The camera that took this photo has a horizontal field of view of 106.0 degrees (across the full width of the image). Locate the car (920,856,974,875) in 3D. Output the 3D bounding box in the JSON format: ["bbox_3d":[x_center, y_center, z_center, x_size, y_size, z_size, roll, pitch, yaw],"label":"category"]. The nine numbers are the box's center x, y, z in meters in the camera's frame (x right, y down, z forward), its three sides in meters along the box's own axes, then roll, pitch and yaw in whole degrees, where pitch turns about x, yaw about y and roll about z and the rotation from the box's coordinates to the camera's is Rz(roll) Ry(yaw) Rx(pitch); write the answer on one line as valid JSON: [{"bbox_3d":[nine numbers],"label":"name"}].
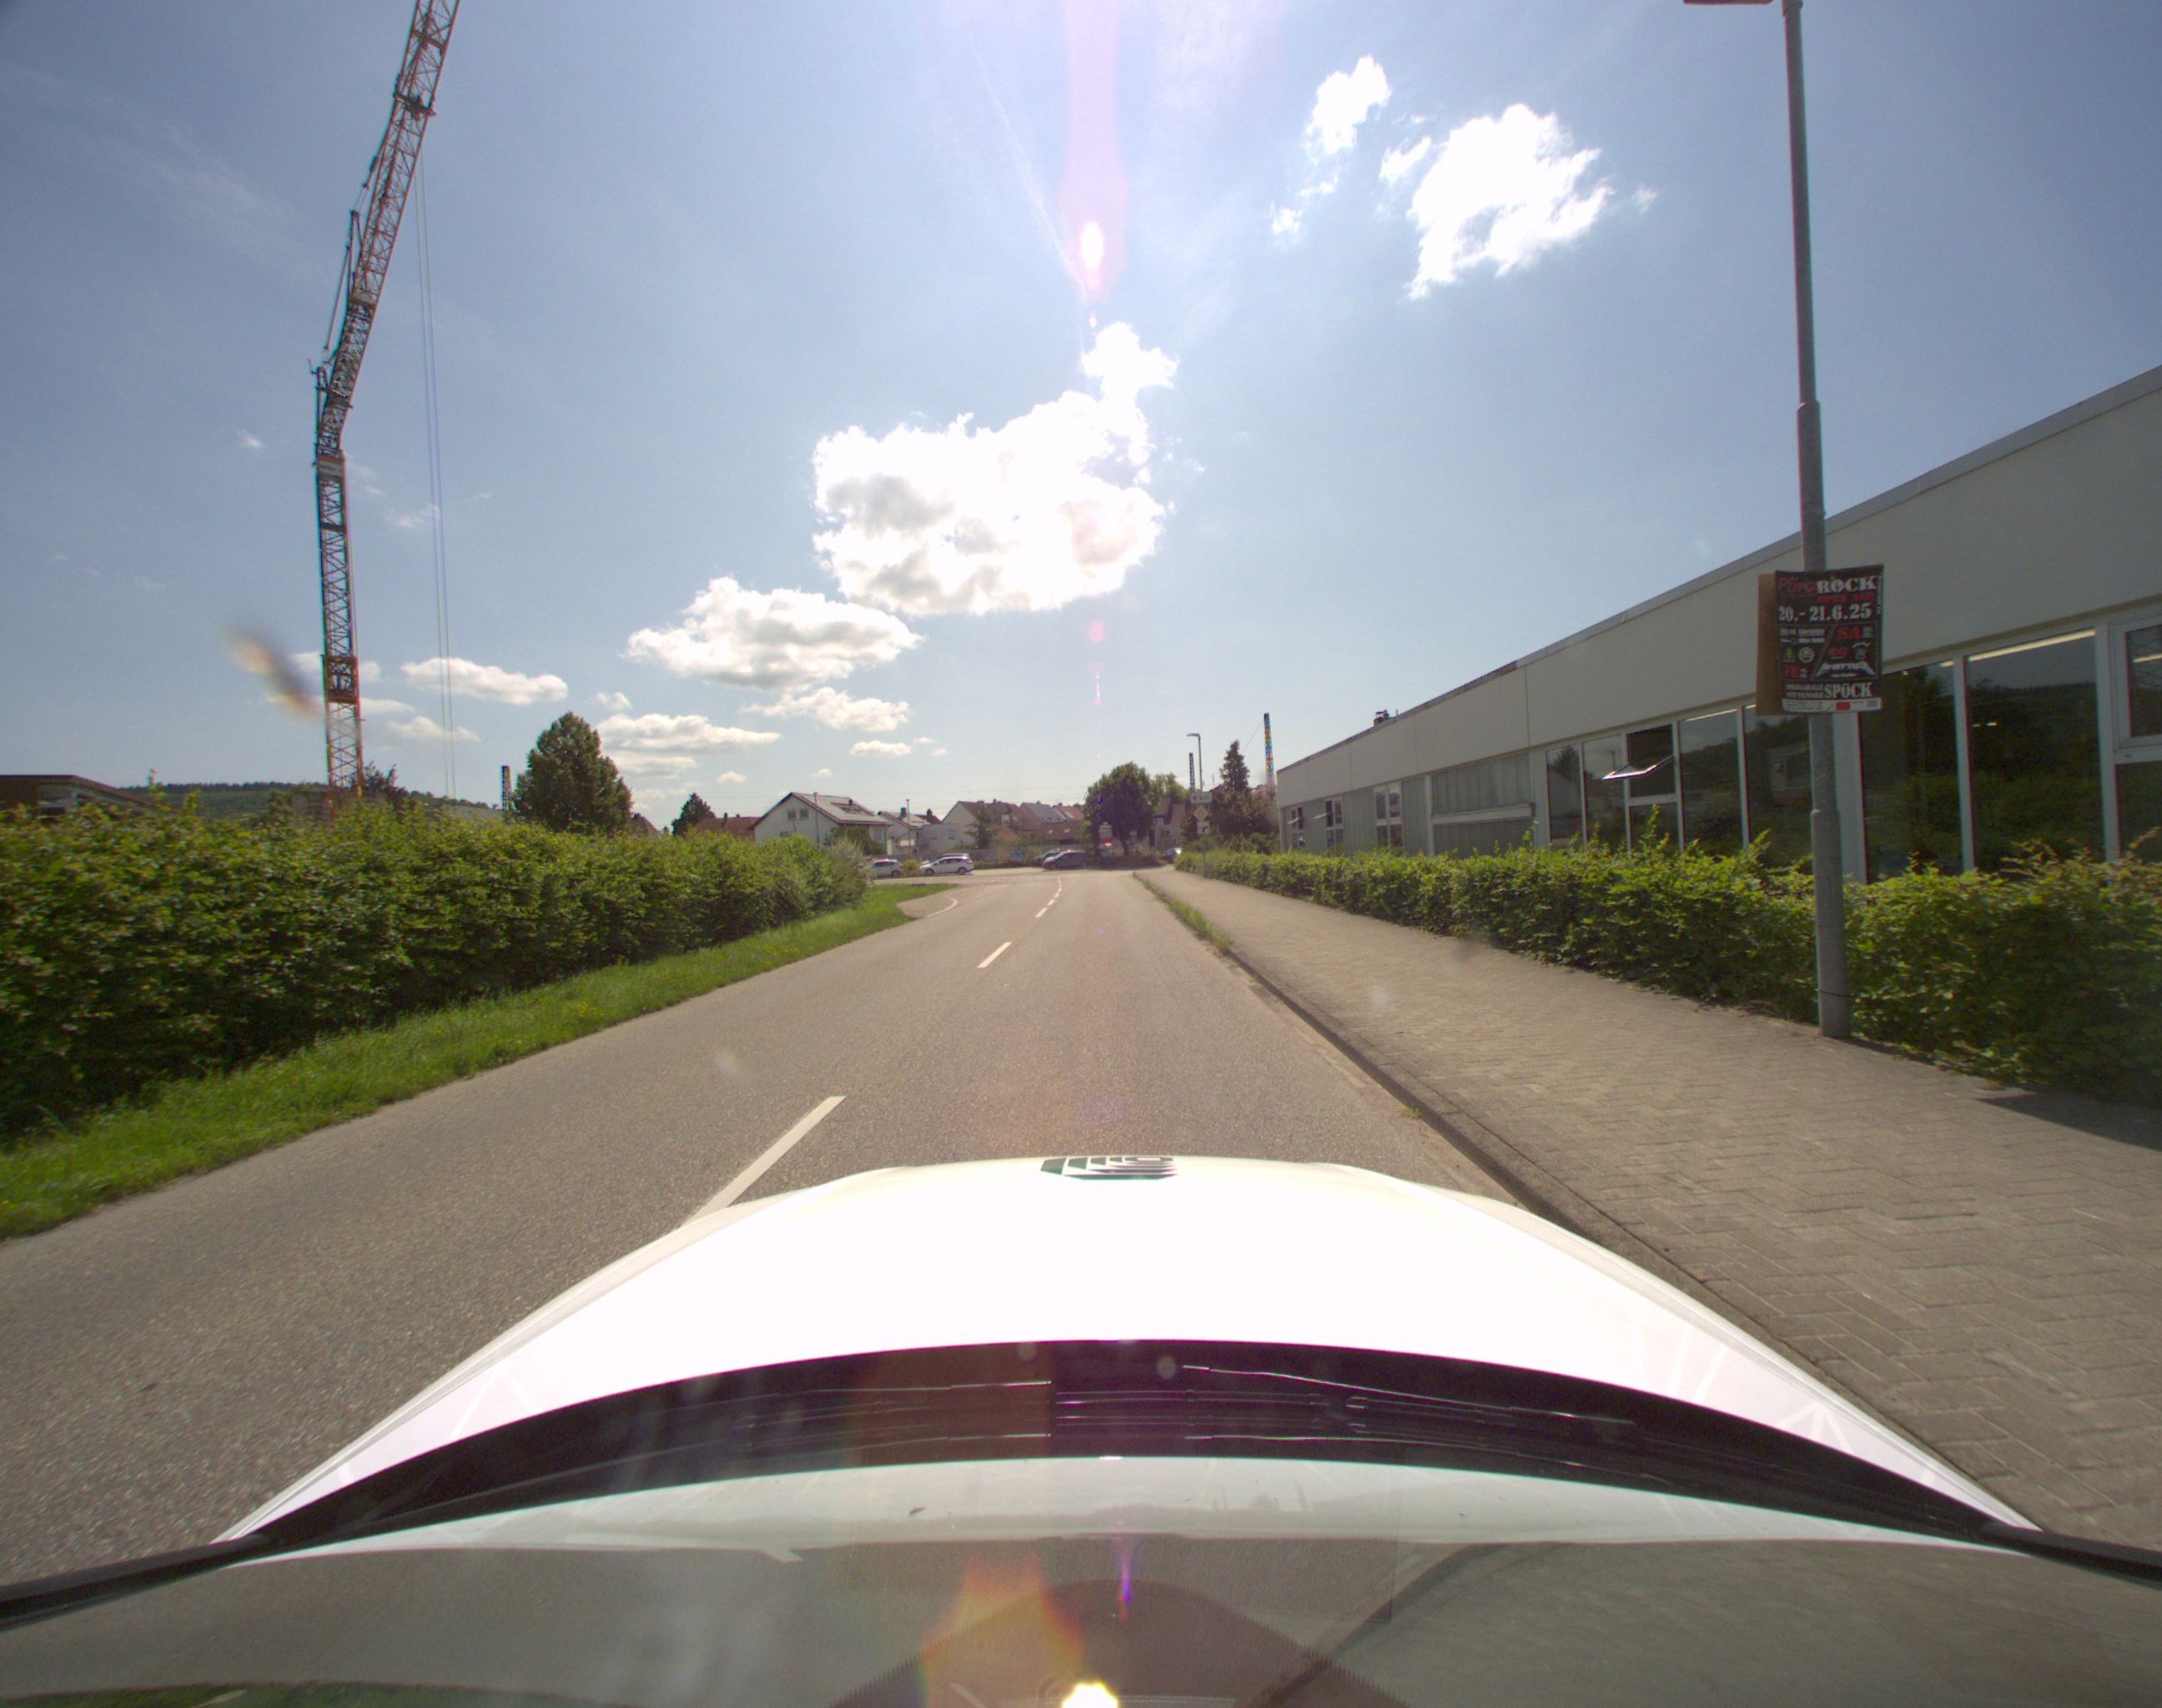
[{"bbox_3d":[-11.051,0.923,67.255,4.284,1.477,1.820,-1,-1,-11],"label":"car"}]

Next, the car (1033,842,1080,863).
[{"bbox_3d":[-2.248,-0.165,74.094,3.986,1.657,1.994,-3,0,-9],"label":"car"}]

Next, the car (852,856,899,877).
[{"bbox_3d":[-17.885,1.062,71.052,3.786,1.558,1.687,-3,0,-13],"label":"car"}]

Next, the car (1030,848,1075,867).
[{"bbox_3d":[-2.694,0.360,76.626,3.985,1.730,1.765,-1,-1,-9],"label":"car"}]

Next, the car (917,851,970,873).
[{"bbox_3d":[-12.123,0.713,71.939,4.449,1.690,1.995,-2,1,-8],"label":"car"}]

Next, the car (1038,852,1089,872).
[{"bbox_3d":[-1.492,0.683,69.130,4.184,1.463,1.660,-2,-1,-8],"label":"car"}]

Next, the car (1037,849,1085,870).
[{"bbox_3d":[-1.812,0.504,71.754,3.985,1.586,1.775,-3,0,-9],"label":"car"}]

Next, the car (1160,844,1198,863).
[{"bbox_3d":[8.625,-0.062,71.807,1.757,1.385,3.976,-1,3,-19],"label":"car"}]

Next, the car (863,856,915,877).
[{"bbox_3d":[-15.706,1.014,66.500,4.010,1.562,1.812,-3,0,-17],"label":"car"}]

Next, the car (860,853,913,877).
[{"bbox_3d":[-16.415,0.941,68.765,4.169,1.638,1.945,-5,0,-16],"label":"car"}]
